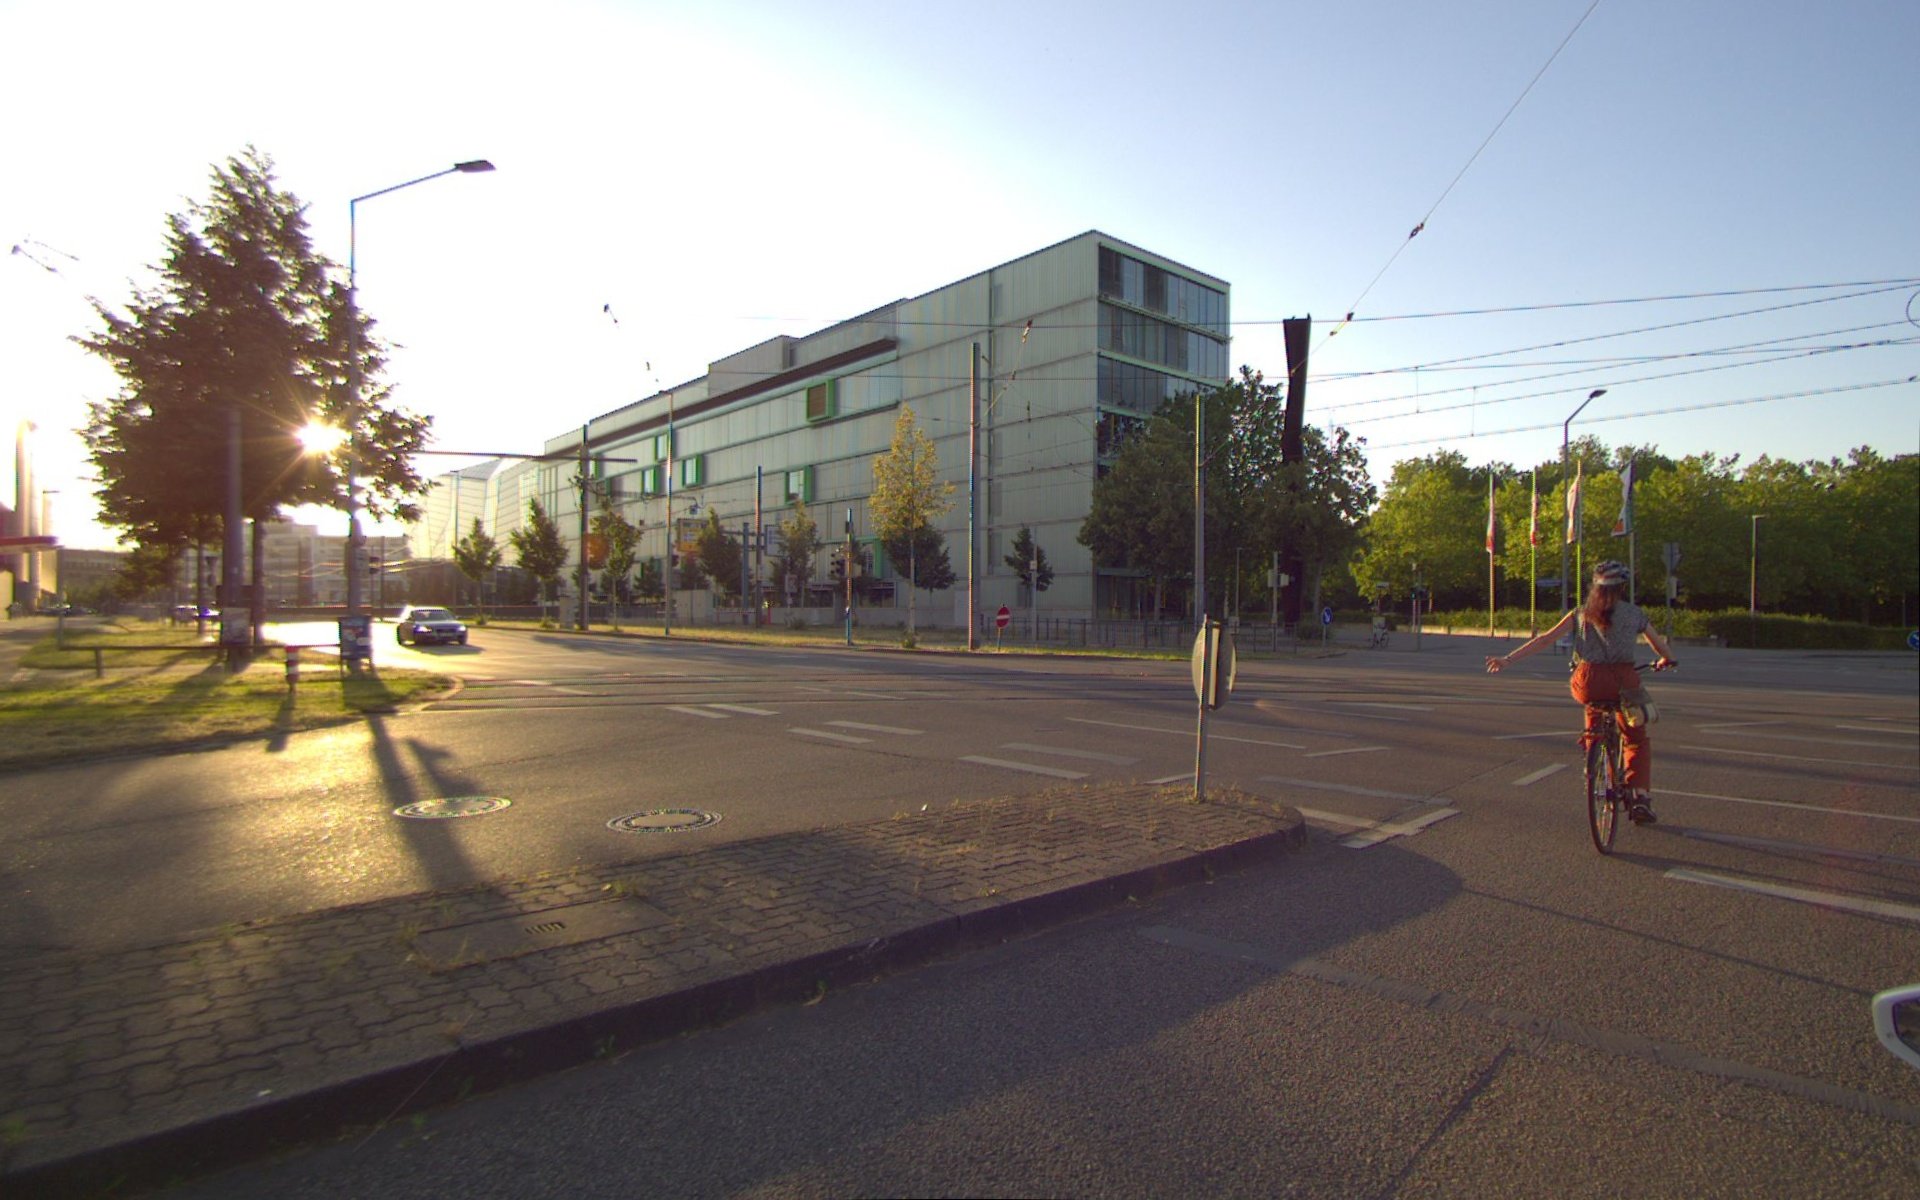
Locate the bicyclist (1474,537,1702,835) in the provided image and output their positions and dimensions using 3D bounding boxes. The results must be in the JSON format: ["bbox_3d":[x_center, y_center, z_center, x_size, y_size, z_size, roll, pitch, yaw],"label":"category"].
[{"bbox_3d":[4.108,0.511,6.582,0.988,1.740,1.023,1,-1,-40],"label":"bicyclist"}]

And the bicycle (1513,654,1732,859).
[{"bbox_3d":[4.365,0.928,6.547,2.105,1.082,0.629,1,-1,-40],"label":"bicycle"}]

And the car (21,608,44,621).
[{"bbox_3d":[-104.480,1.635,113.176,1.706,1.519,3.953,1,-1,-41],"label":"car"}]

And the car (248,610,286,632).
[{"bbox_3d":[-55.982,1.687,81.118,1.986,1.729,3.950,1,-1,-43],"label":"car"}]

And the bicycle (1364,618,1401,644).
[{"bbox_3d":[19.694,1.423,46.760,2.375,1.151,0.692,1,-1,-43],"label":"bicycle"}]

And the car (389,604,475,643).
[{"bbox_3d":[-20.592,0.879,39.118,1.987,1.439,3.948,1,-1,-44],"label":"car"}]
